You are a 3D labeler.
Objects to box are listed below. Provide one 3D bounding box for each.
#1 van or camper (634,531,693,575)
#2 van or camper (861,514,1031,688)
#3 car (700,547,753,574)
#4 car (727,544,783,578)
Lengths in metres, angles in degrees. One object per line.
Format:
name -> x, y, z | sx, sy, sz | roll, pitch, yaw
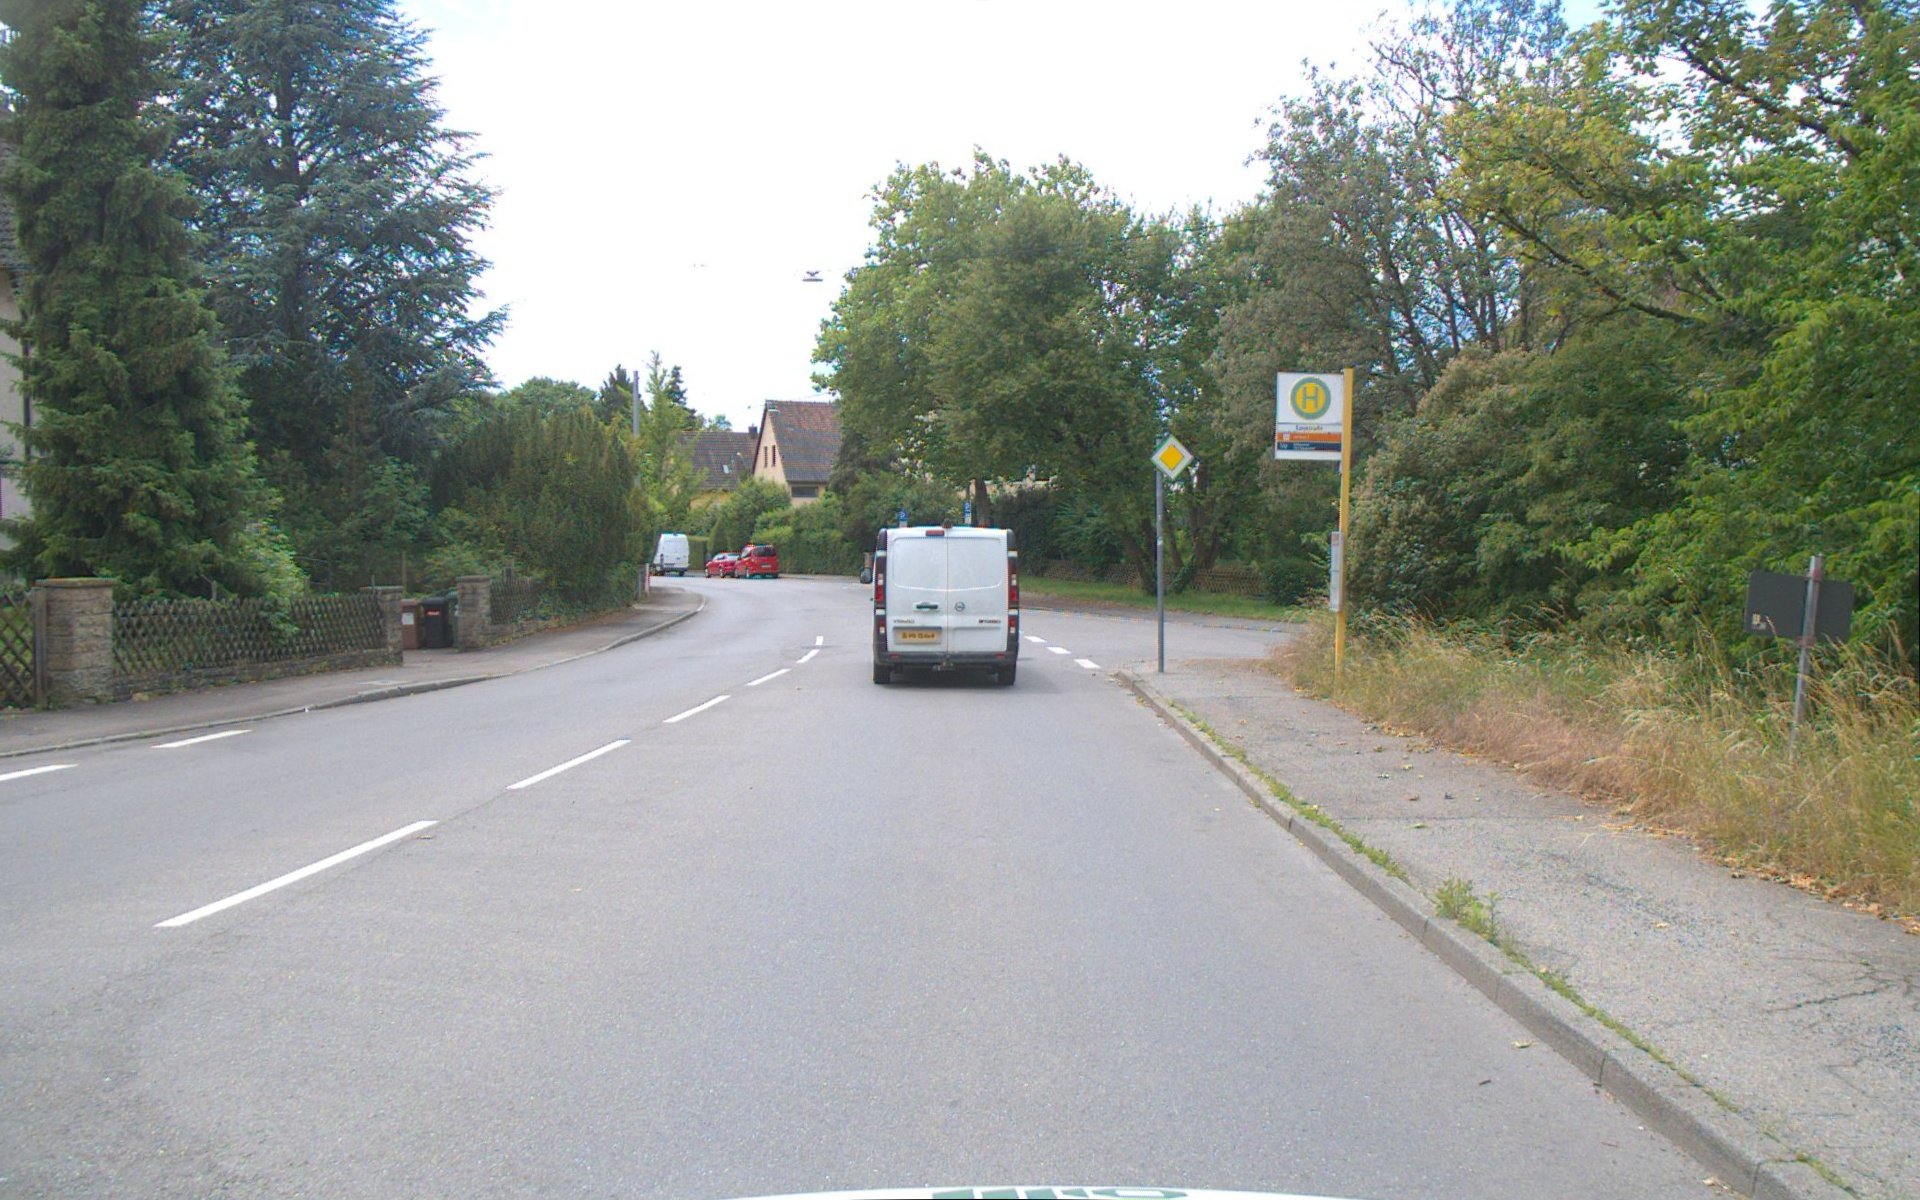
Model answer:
van or camper -> -19.251, -3.069, 107.202 | 2.042, 2.721, 6.274 | -1, 2, -27
van or camper -> -0.305, -0.100, 22.294 | 1.887, 2.048, 4.826 | 1, 3, -5
car -> -13.410, -2.260, 94.825 | 1.693, 1.493, 4.230 | -1, 2, -27
car -> -11.176, -2.145, 89.866 | 1.737, 1.828, 4.913 | -1, 2, -24
